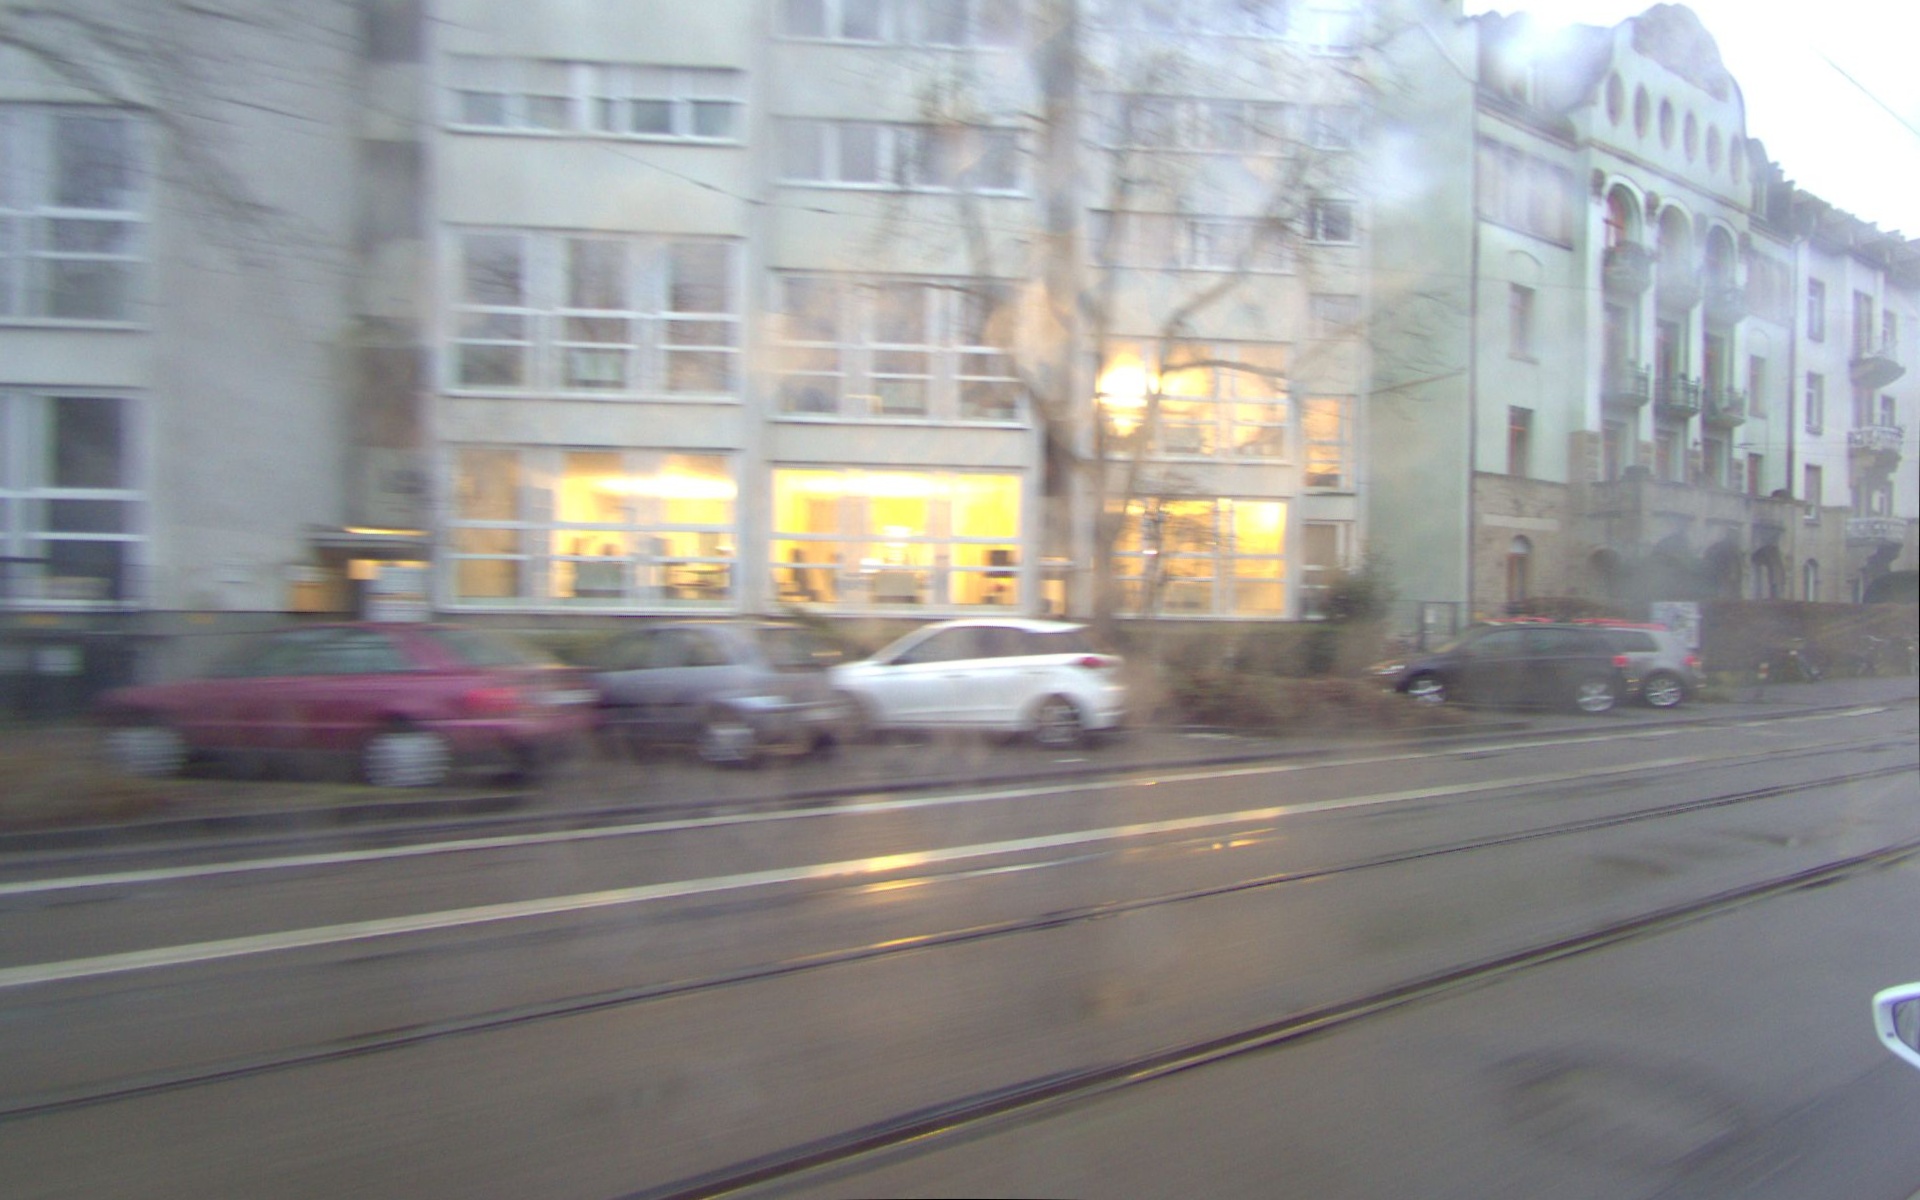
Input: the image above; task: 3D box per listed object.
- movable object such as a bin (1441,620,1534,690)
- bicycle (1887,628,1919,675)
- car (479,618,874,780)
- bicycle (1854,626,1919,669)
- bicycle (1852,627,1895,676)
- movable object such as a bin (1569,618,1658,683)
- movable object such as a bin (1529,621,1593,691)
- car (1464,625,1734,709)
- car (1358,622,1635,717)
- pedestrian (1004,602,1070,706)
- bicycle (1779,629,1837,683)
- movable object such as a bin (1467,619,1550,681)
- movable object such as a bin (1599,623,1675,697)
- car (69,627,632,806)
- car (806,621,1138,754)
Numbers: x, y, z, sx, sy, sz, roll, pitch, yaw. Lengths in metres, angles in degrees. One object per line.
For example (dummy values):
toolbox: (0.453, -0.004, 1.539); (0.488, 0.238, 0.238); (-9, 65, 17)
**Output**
movable object such as a bin: (11.582, 1.172, 22.084); (1.307, 1.470, 1.260); (0, -1, -23)
bicycle: (26.385, 1.412, 27.943); (1.583, 1.228, 0.686); (0, -1, -40)
car: (-3.068, 0.956, 10.845); (3.925, 1.482, 1.735); (-1, -2, 25)
bicycle: (28.667, 1.451, 30.979); (0.483, 1.279, 1.584); (5, -4, -26)
bicycle: (23.975, 1.337, 26.358); (1.583, 1.228, 0.624); (0, -1, -40)
movable object such as a bin: (15.484, 1.178, 23.820); (1.307, 1.470, 1.260); (0, -1, -23)
movable object such as a bin: (13.205, 1.204, 22.078); (1.075, 1.470, 1.107); (-1, -1, 38)
car: (11.842, 1.201, 18.916); (3.920, 1.447, 1.849); (-1, -1, 17)
car: (9.146, 1.140, 17.478); (3.919, 1.490, 1.833); (0, -1, 15)
pedestrian: (1.304, 0.893, 17.012); (0.962, 1.699, 0.594); (0, -1, -31)
bicycle: (20.290, 1.326, 24.028); (1.581, 1.228, 0.687); (0, -1, -36)
movable object such as a bin: (13.507, 1.201, 24.742); (1.307, 1.470, 1.260); (0, -1, -23)
movable object such as a bin: (14.257, 1.233, 21.154); (1.247, 1.470, 1.107); (-1, -1, 38)
car: (-5.350, 0.938, 9.023); (4.259, 1.370, 1.751); (0, -2, 12)
car: (0.212, 0.990, 12.324); (3.775, 1.442, 1.738); (0, -1, 14)
